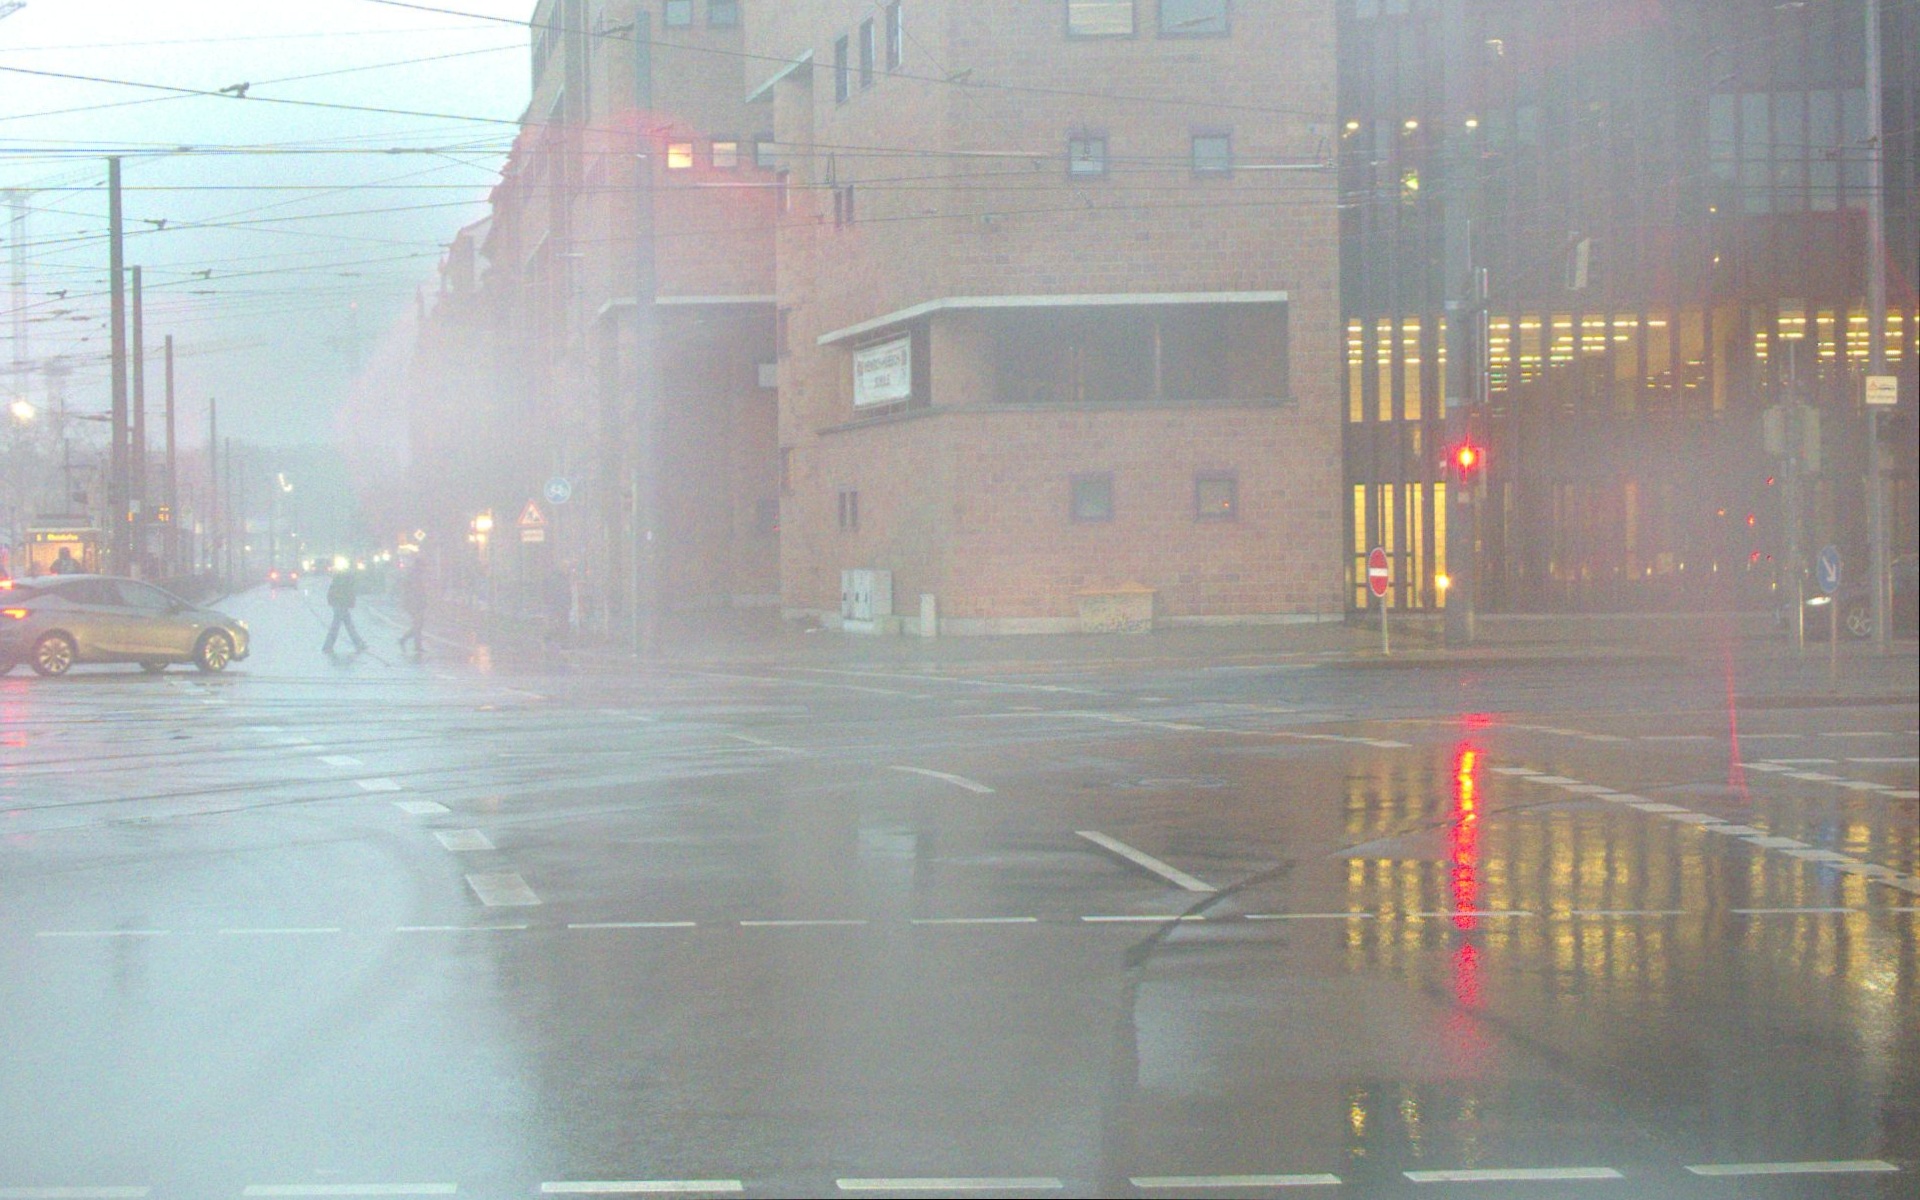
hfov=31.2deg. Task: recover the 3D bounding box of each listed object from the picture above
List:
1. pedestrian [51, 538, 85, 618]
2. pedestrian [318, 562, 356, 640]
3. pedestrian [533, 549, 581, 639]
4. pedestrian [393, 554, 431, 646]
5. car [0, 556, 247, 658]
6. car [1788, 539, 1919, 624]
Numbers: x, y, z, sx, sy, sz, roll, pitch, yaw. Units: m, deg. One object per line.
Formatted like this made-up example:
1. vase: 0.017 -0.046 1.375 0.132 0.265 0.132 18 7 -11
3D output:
1. pedestrian: -19.461 -0.485 74.984 0.693 1.718 0.766 -1 1 -15
2. pedestrian: -11.974 0.015 66.089 0.700 1.479 0.576 -1 1 -10
3. pedestrian: -7.672 -0.119 65.481 0.843 1.681 0.649 -1 1 -10
4. pedestrian: -10.366 -0.009 65.034 0.666 1.719 0.488 -1 1 -10
5. car: -12.640 0.110 50.213 3.988 1.436 1.714 1 0 -39
6. car: 15.695 -0.331 55.745 3.986 1.305 2.000 -1 1 -4
